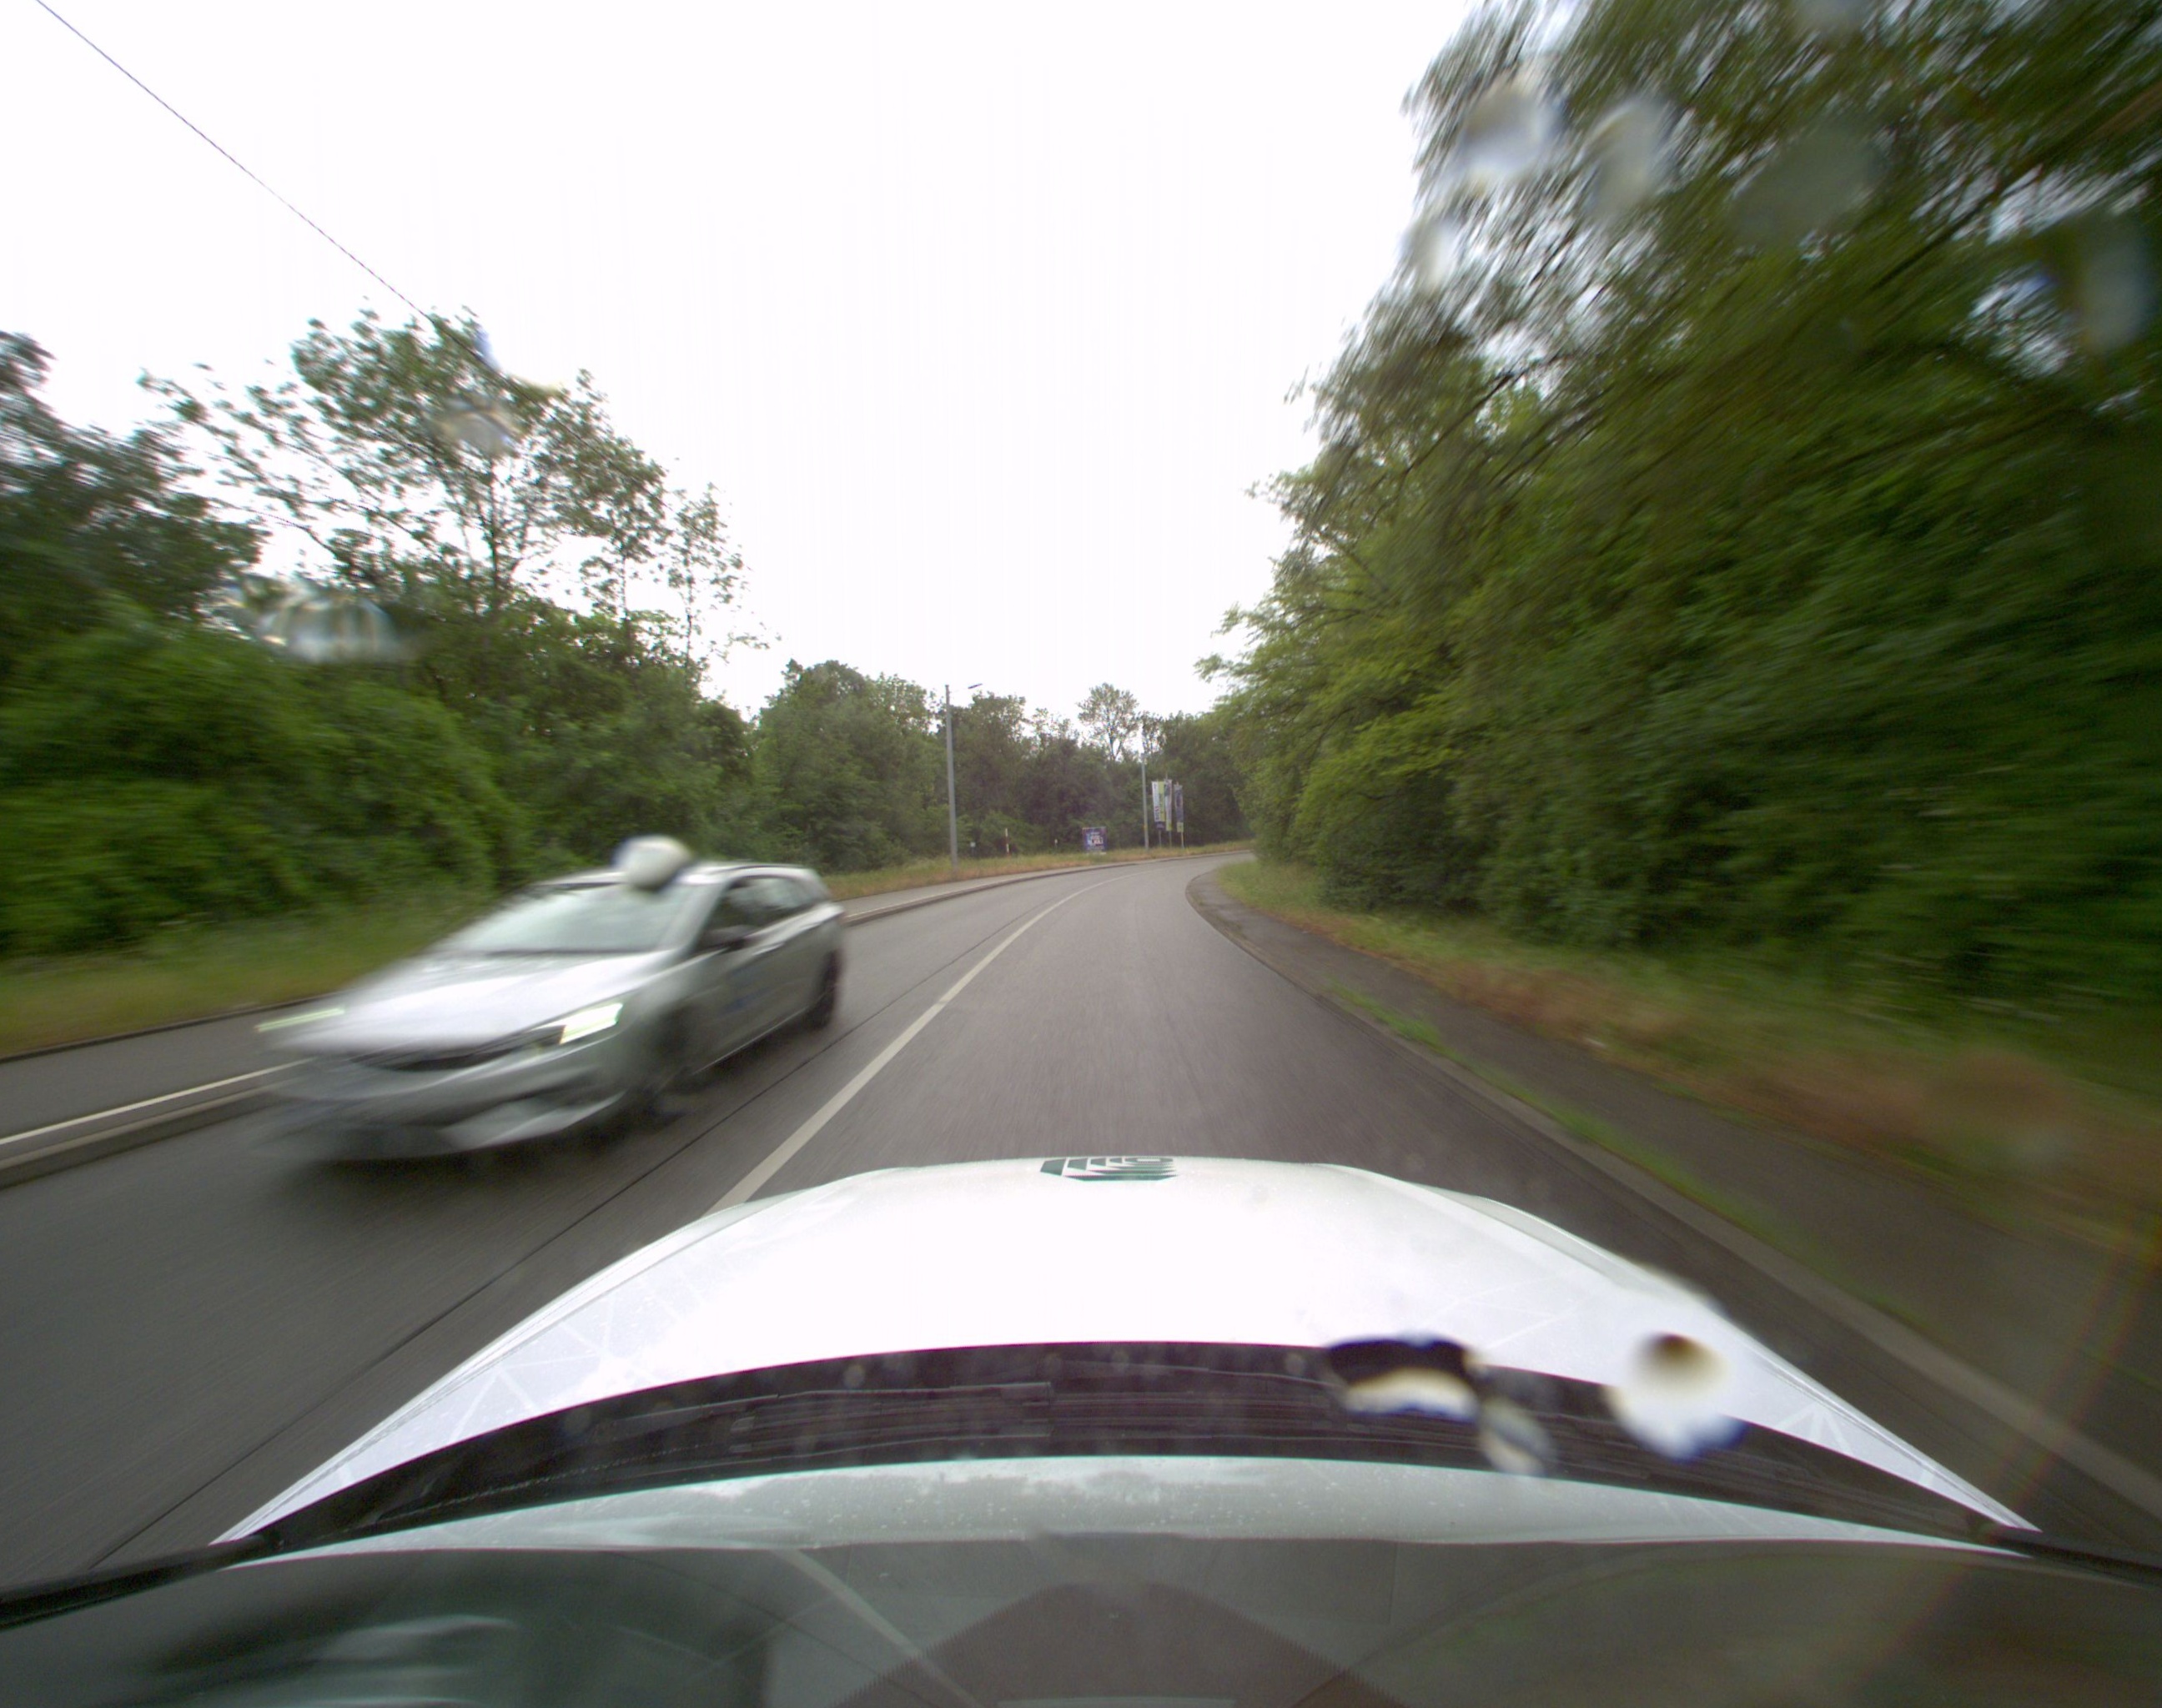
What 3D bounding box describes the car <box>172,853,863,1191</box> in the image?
[{"bbox_3d":[-3.132,0.749,5.894,1.773,1.430,4.477,0,1,2],"label":"car"}]
